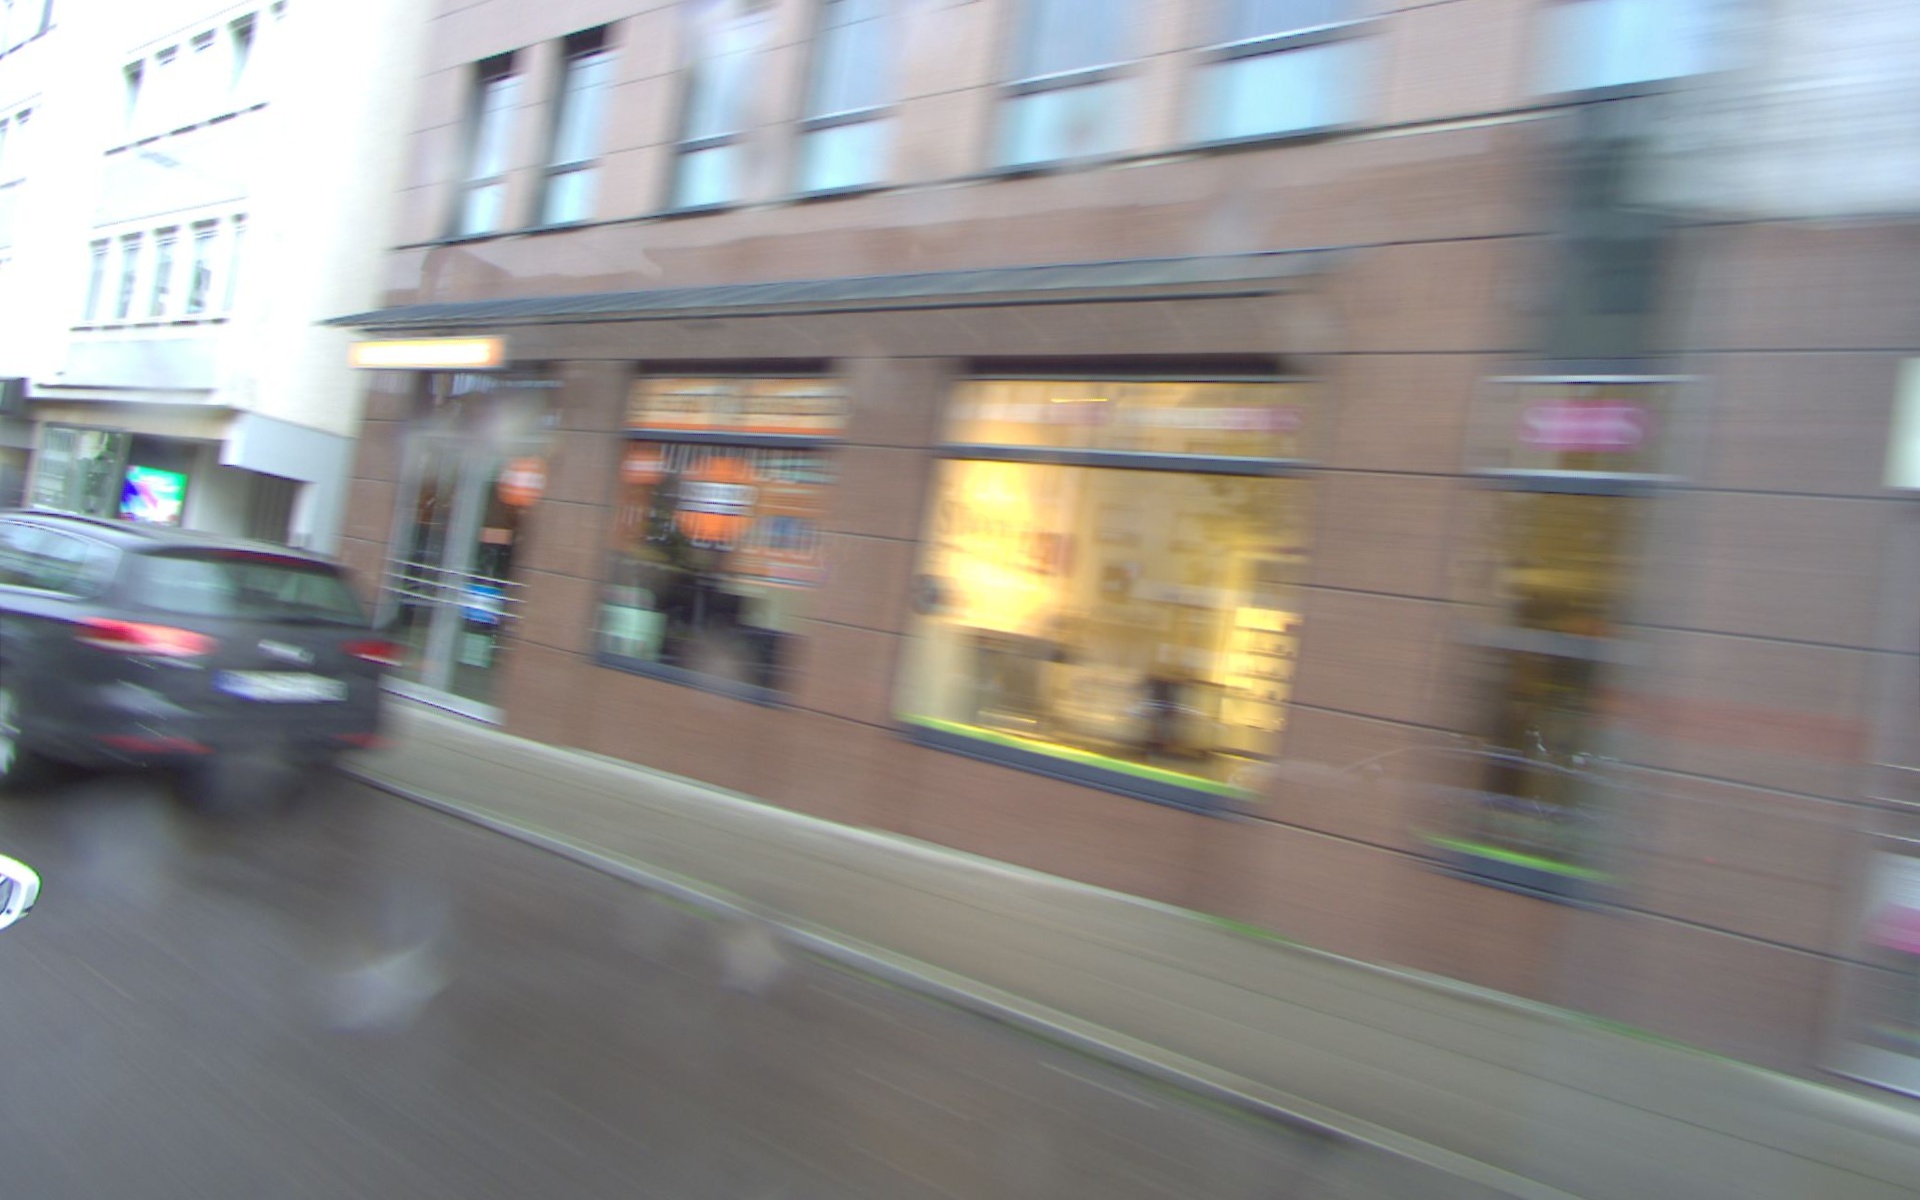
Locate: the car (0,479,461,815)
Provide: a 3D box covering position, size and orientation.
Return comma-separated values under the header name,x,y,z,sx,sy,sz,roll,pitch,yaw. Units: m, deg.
name,x,y,z,sx,sy,sz,roll,pitch,yaw
car,-5.506,0.113,6.464,4.531,1.484,1.779,7,-3,30
